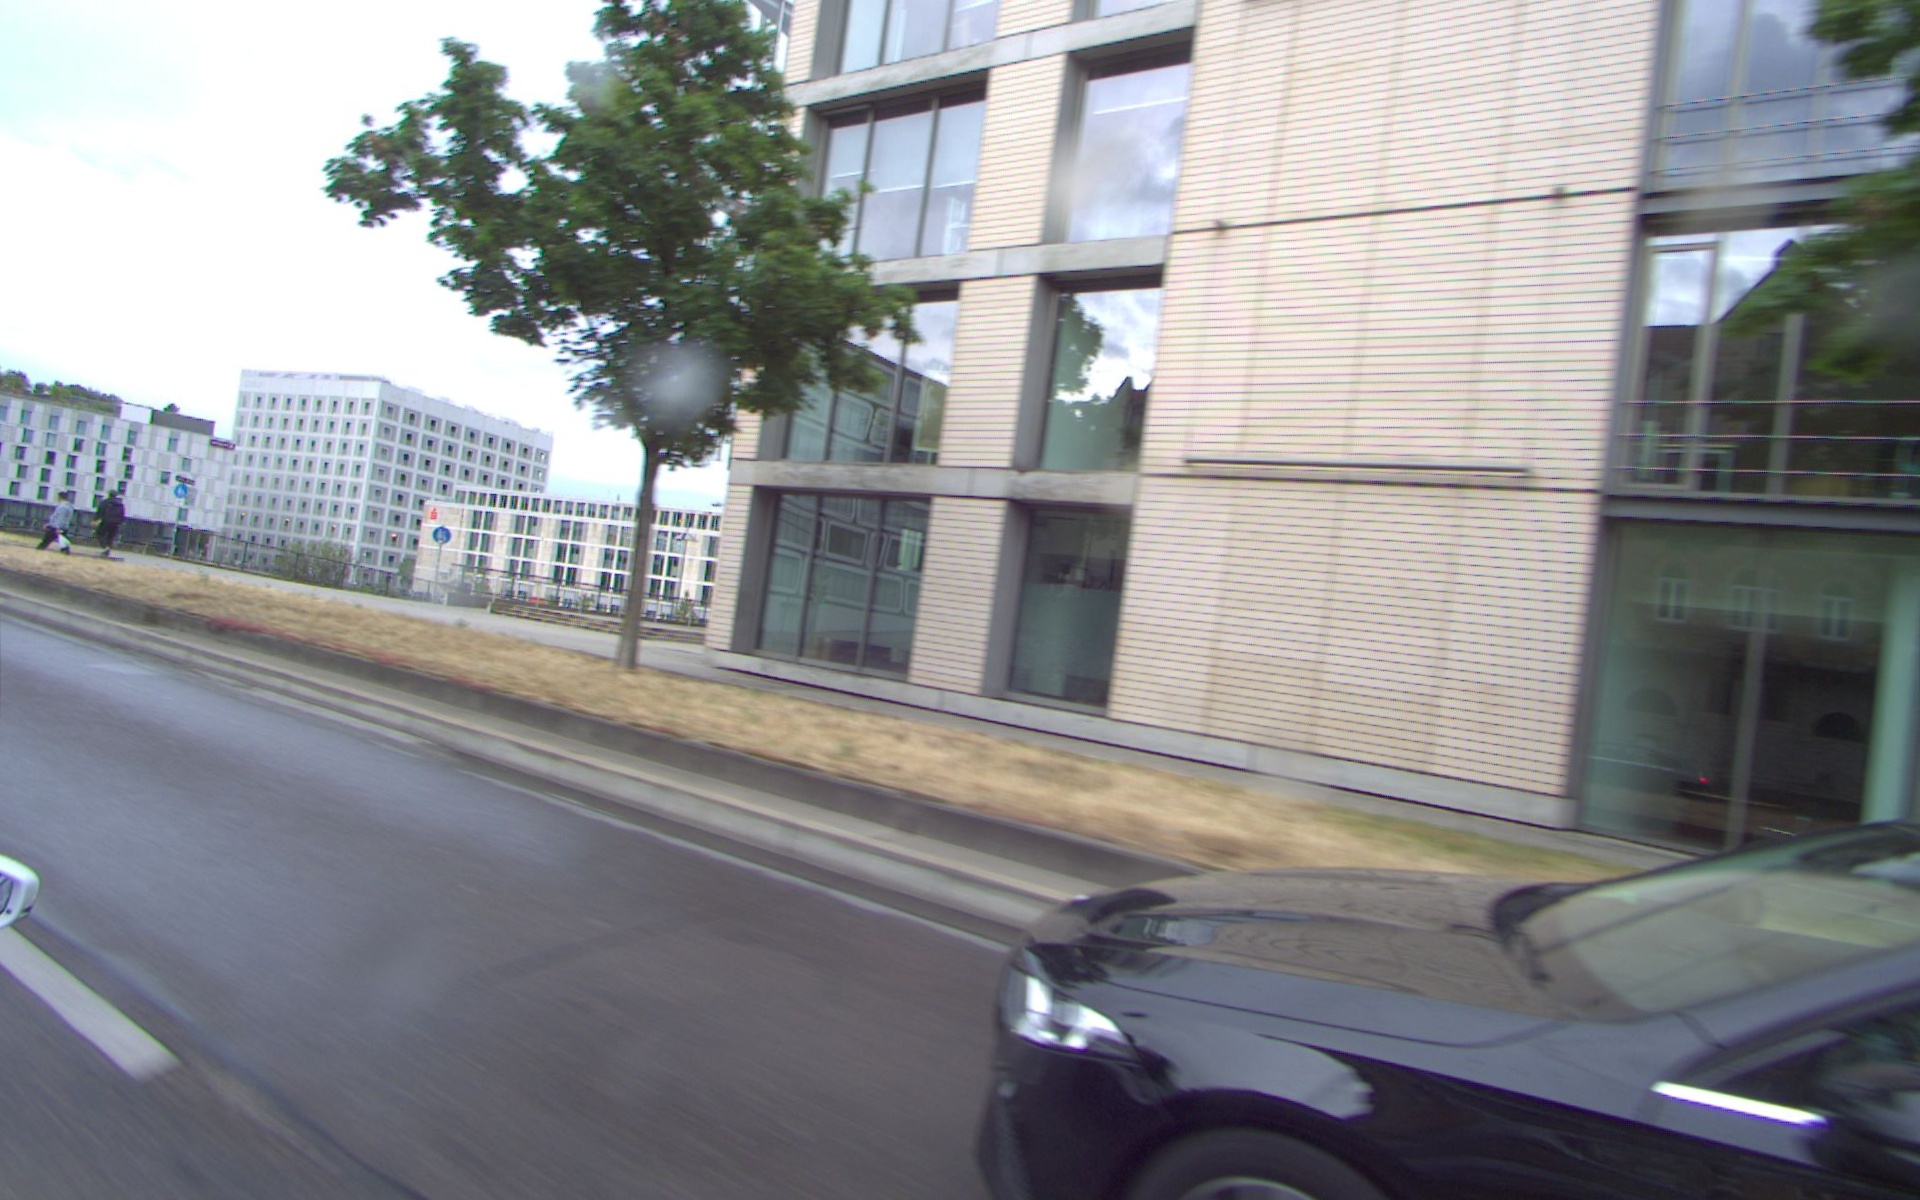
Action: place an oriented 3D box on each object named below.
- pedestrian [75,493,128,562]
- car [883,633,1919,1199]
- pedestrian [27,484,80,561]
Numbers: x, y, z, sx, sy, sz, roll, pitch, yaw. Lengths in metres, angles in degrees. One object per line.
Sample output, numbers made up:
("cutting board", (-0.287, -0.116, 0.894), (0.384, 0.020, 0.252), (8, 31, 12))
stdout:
("pedestrian", (-21.308, -1.793, 24.976), (0.662, 1.597, 0.665), (8, 1, -21))
("car", (2.121, 1.084, 2.025), (4.134, 1.453, 1.876), (7, -1, 31))
("pedestrian", (-20.038, -1.707, 22.246), (0.544, 1.597, 0.666), (8, 1, -25))
